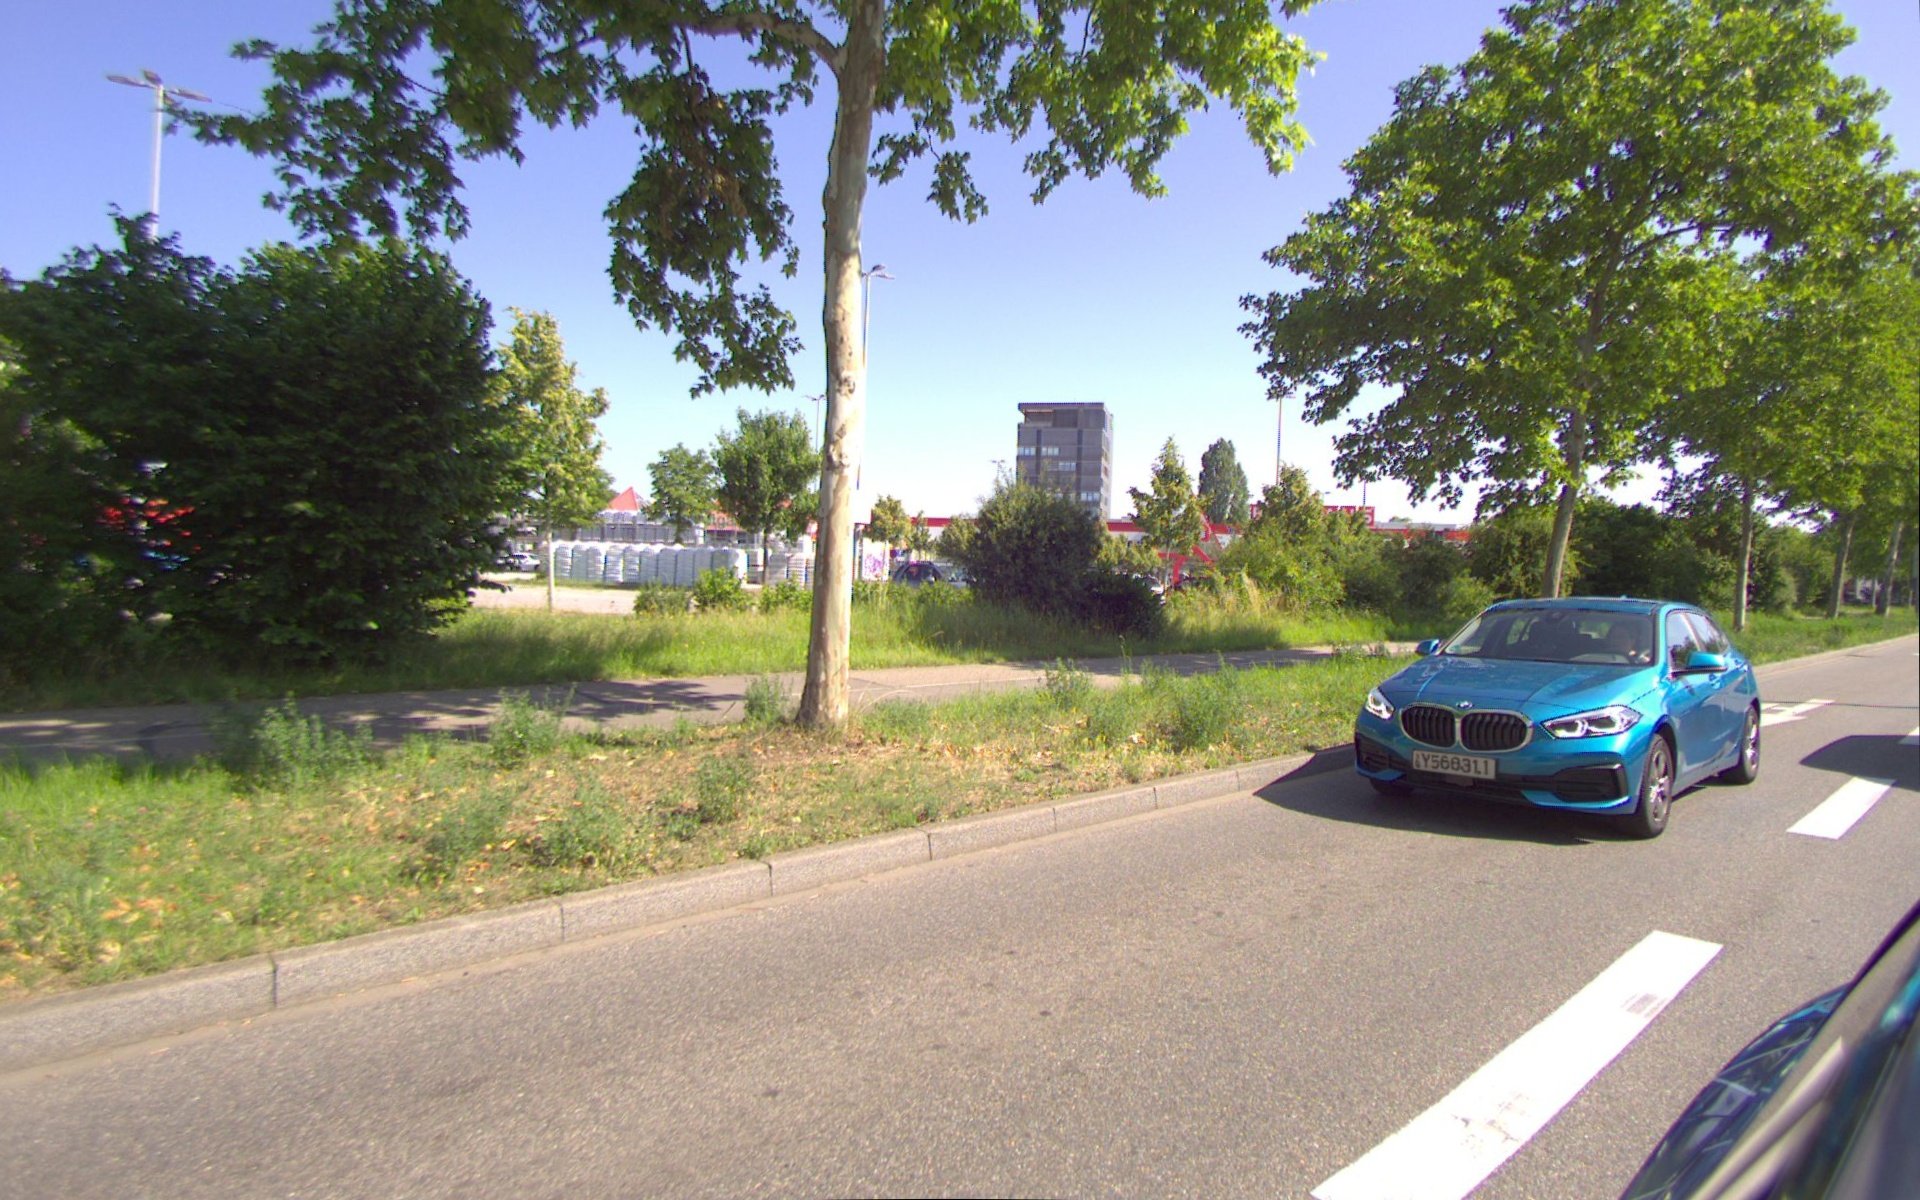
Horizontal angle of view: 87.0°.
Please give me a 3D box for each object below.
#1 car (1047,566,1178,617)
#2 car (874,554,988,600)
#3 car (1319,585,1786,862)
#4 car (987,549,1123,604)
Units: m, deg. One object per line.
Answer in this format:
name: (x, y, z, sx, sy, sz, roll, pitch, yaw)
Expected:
car: (5.097, -0.297, 34.124, 4.073, 1.611, 1.851, 0, 1, 45)
car: (-0.908, -0.649, 29.550, 1.583, 1.263, 3.528, -1, 1, -37)
car: (4.541, 0.637, 7.490, 4.061, 1.437, 1.870, -1, 2, -43)
car: (2.971, -0.721, 32.099, 4.073, 1.611, 1.851, 0, 1, 45)
